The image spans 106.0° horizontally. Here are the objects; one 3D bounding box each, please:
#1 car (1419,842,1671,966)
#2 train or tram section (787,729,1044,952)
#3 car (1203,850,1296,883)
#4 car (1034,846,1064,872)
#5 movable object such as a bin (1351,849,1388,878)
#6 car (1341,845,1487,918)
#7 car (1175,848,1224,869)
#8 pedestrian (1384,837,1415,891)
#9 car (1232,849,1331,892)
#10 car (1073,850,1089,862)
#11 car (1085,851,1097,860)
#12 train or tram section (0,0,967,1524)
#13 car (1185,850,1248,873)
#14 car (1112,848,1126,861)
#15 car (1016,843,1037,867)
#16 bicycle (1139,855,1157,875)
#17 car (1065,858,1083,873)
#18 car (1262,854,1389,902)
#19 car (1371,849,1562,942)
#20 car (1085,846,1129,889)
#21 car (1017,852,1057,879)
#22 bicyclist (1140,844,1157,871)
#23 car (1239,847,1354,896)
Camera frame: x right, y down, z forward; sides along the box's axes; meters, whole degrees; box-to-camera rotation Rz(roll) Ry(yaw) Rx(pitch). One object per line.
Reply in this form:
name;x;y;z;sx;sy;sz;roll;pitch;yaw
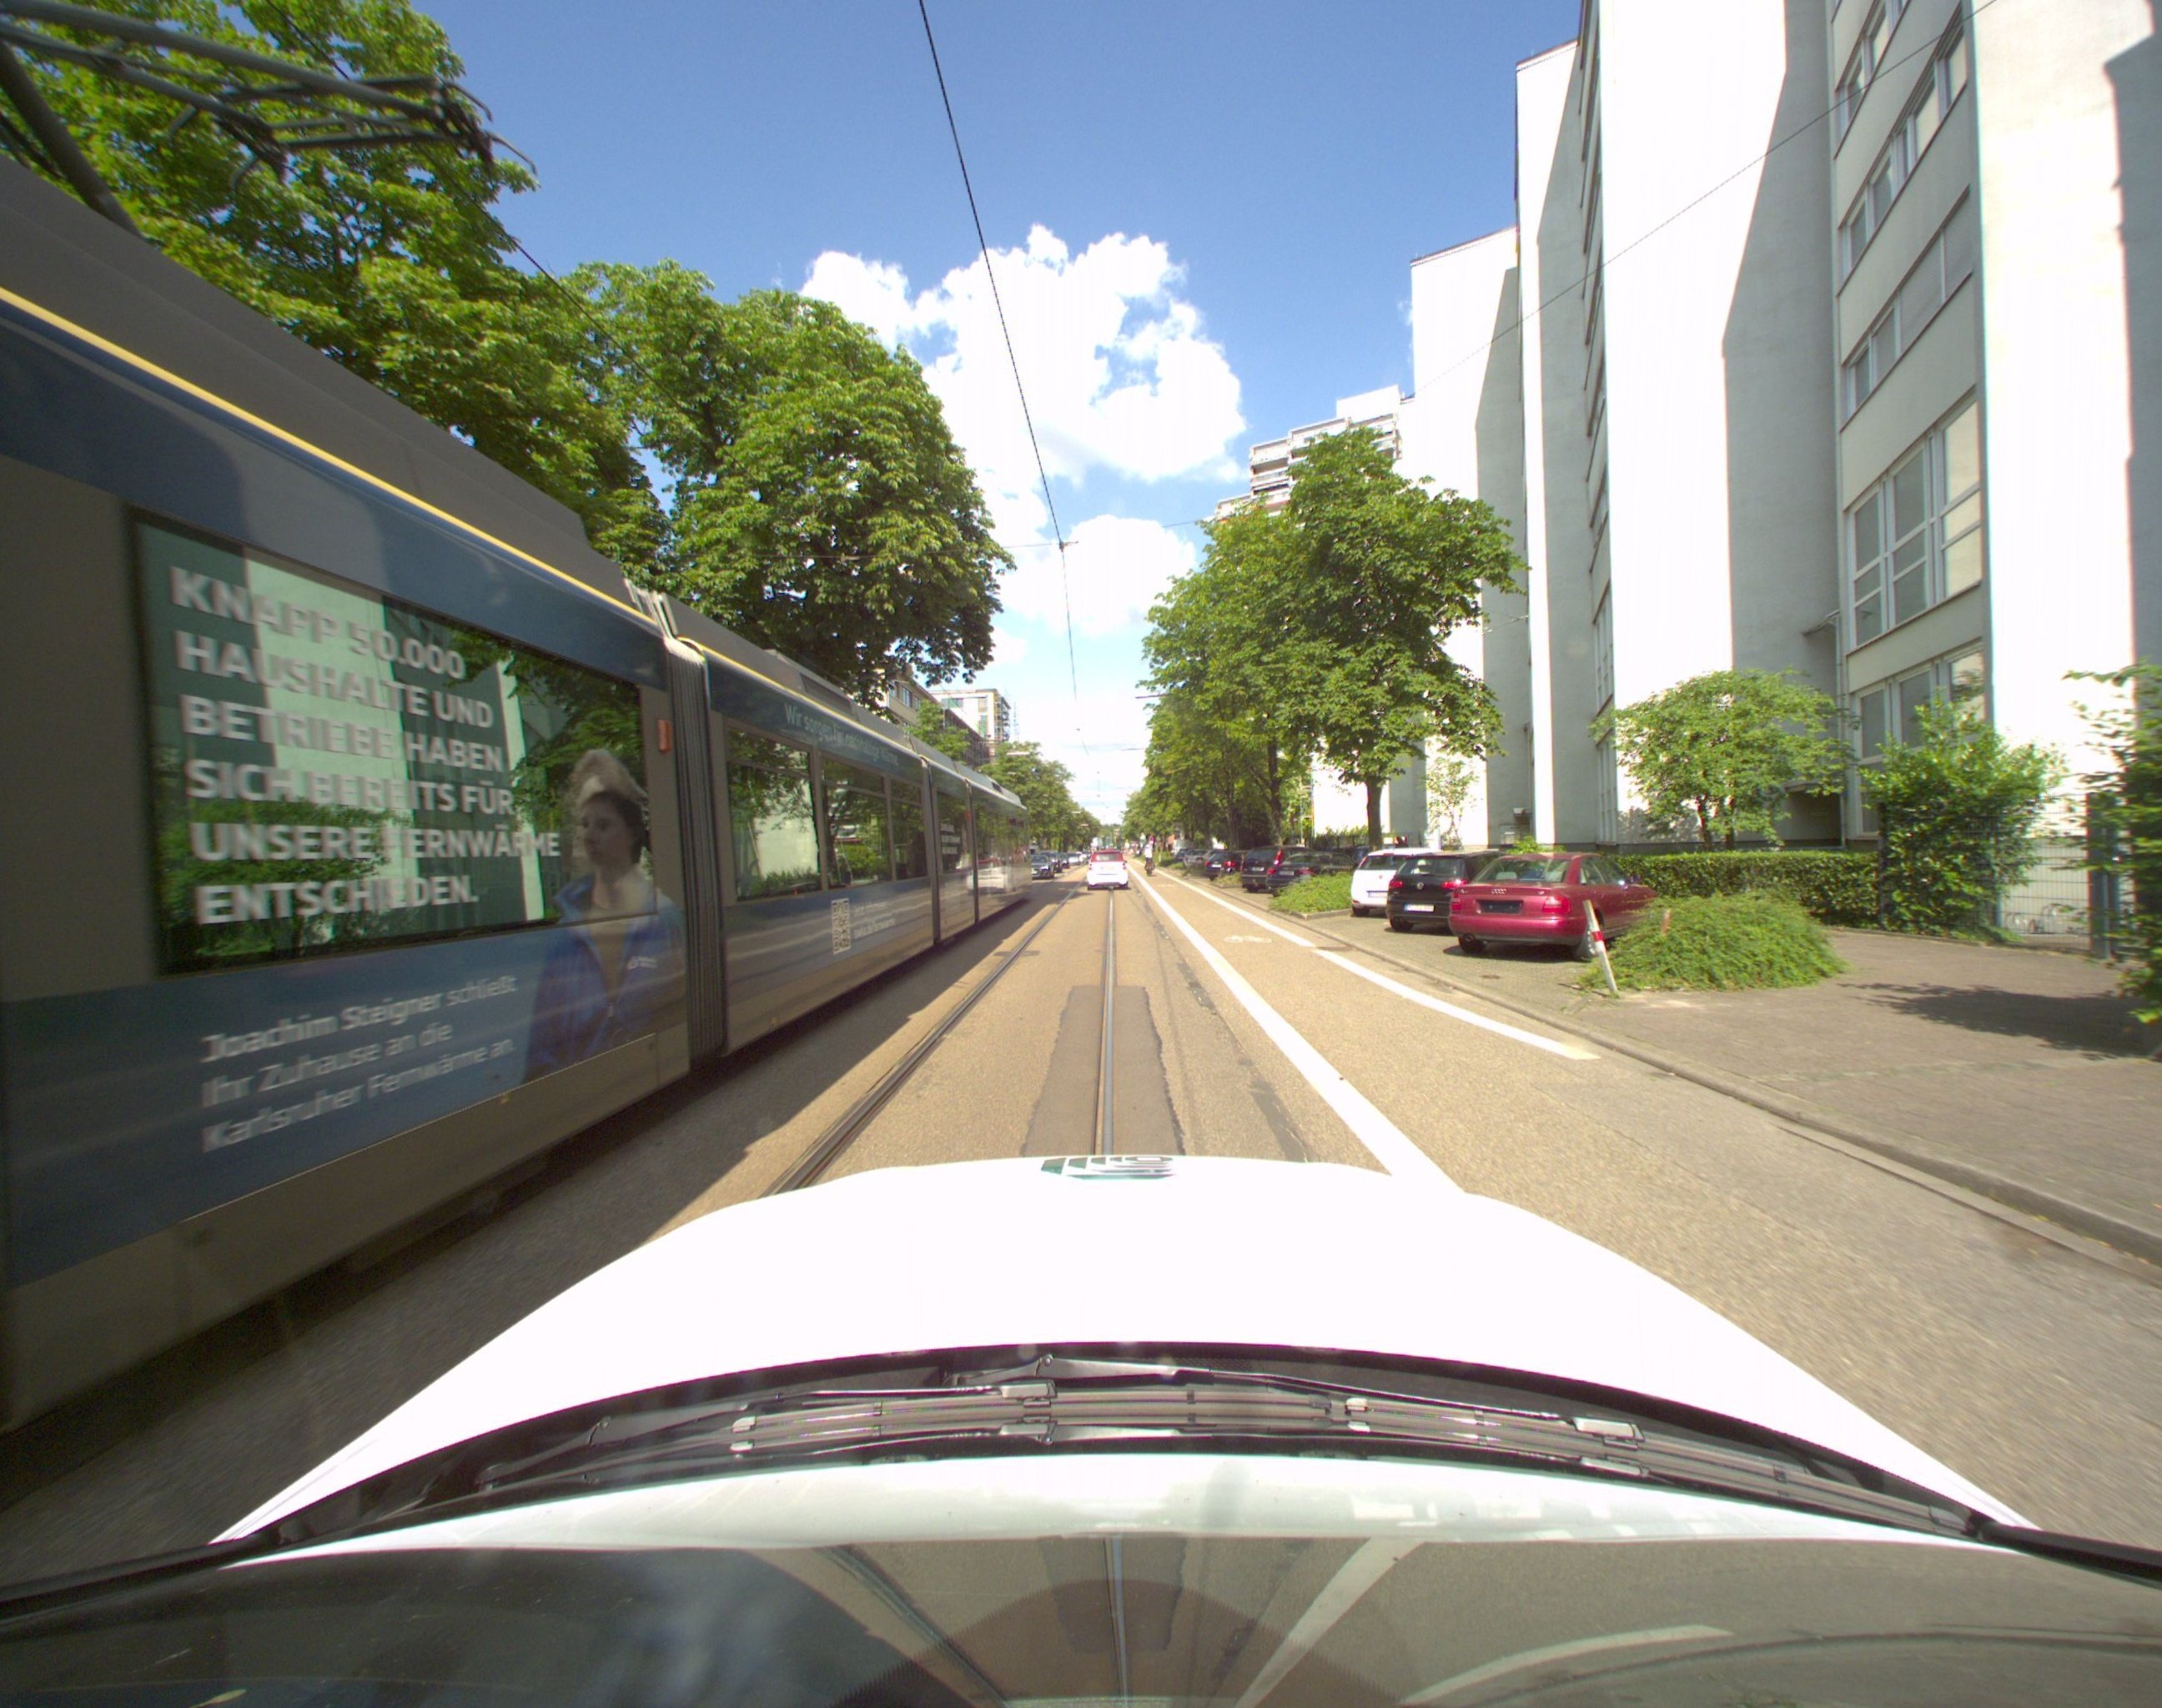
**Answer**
car;6.835;0.601;11.823;4.182;1.423;1.844;-2;0;-41
train or tram section;-2.940;-0.184;19.901;2.642;3.356;14.116;-3;0;2
car;7.899;0.557;37.978;4.562;1.442;2.007;1;-1;-44
car;-2.207;0.334;57.792;1.819;1.727;4.392;0;0;1
movable object such as a bin;13.357;0.421;37.693;1.270;1.318;1.326;0;0;2
car;7.584;0.550;18.373;4.023;1.461;1.517;-1;0;-44
car;9.392;0.382;64.342;4.023;1.486;1.596;-2;0;-44
pedestrian;11.207;0.348;28.690;0.756;1.873;1.004;-1;0;8
car;7.776;0.568;31.404;4.098;1.443;1.705;-2;2;-42
car;0.017;0.285;102.207;1.680;1.405;4.229;-1;0;3
car;1.790;0.221;140.815;1.792;1.508;4.540;-1;0;3
train or tram section;-3.464;-0.182;7.176;2.642;3.389;11.479;-3;0;2
car;9.079;0.479;54.516;4.262;1.420;1.705;-1;1;-36
car;4.742;0.036;101.866;1.659;1.624;3.622;-1;0;2
car;-6.125;0.131;91.910;1.762;2.639;5.325;0;0;2
bicycle;3.875;0.622;46.850;0.870;1.126;2.141;0;0;8
car;-0.766;1.209;88.422;1.767;1.416;3.853;-4;0;1
car;7.597;0.674;25.093;4.199;1.349;1.882;0;0;-43
car;7.181;0.668;14.990;4.021;1.448;1.679;-1;0;-41
car;1.068;0.521;32.624;1.659;1.624;3.622;0;0;2
car;-2.384;0.604;45.398;1.792;1.388;4.428;-2;0;2
bicyclist;3.926;0.186;47.127;0.885;1.529;1.087;0;0;8
car;7.461;0.561;28.036;4.020;1.574;1.883;0;0;-40
